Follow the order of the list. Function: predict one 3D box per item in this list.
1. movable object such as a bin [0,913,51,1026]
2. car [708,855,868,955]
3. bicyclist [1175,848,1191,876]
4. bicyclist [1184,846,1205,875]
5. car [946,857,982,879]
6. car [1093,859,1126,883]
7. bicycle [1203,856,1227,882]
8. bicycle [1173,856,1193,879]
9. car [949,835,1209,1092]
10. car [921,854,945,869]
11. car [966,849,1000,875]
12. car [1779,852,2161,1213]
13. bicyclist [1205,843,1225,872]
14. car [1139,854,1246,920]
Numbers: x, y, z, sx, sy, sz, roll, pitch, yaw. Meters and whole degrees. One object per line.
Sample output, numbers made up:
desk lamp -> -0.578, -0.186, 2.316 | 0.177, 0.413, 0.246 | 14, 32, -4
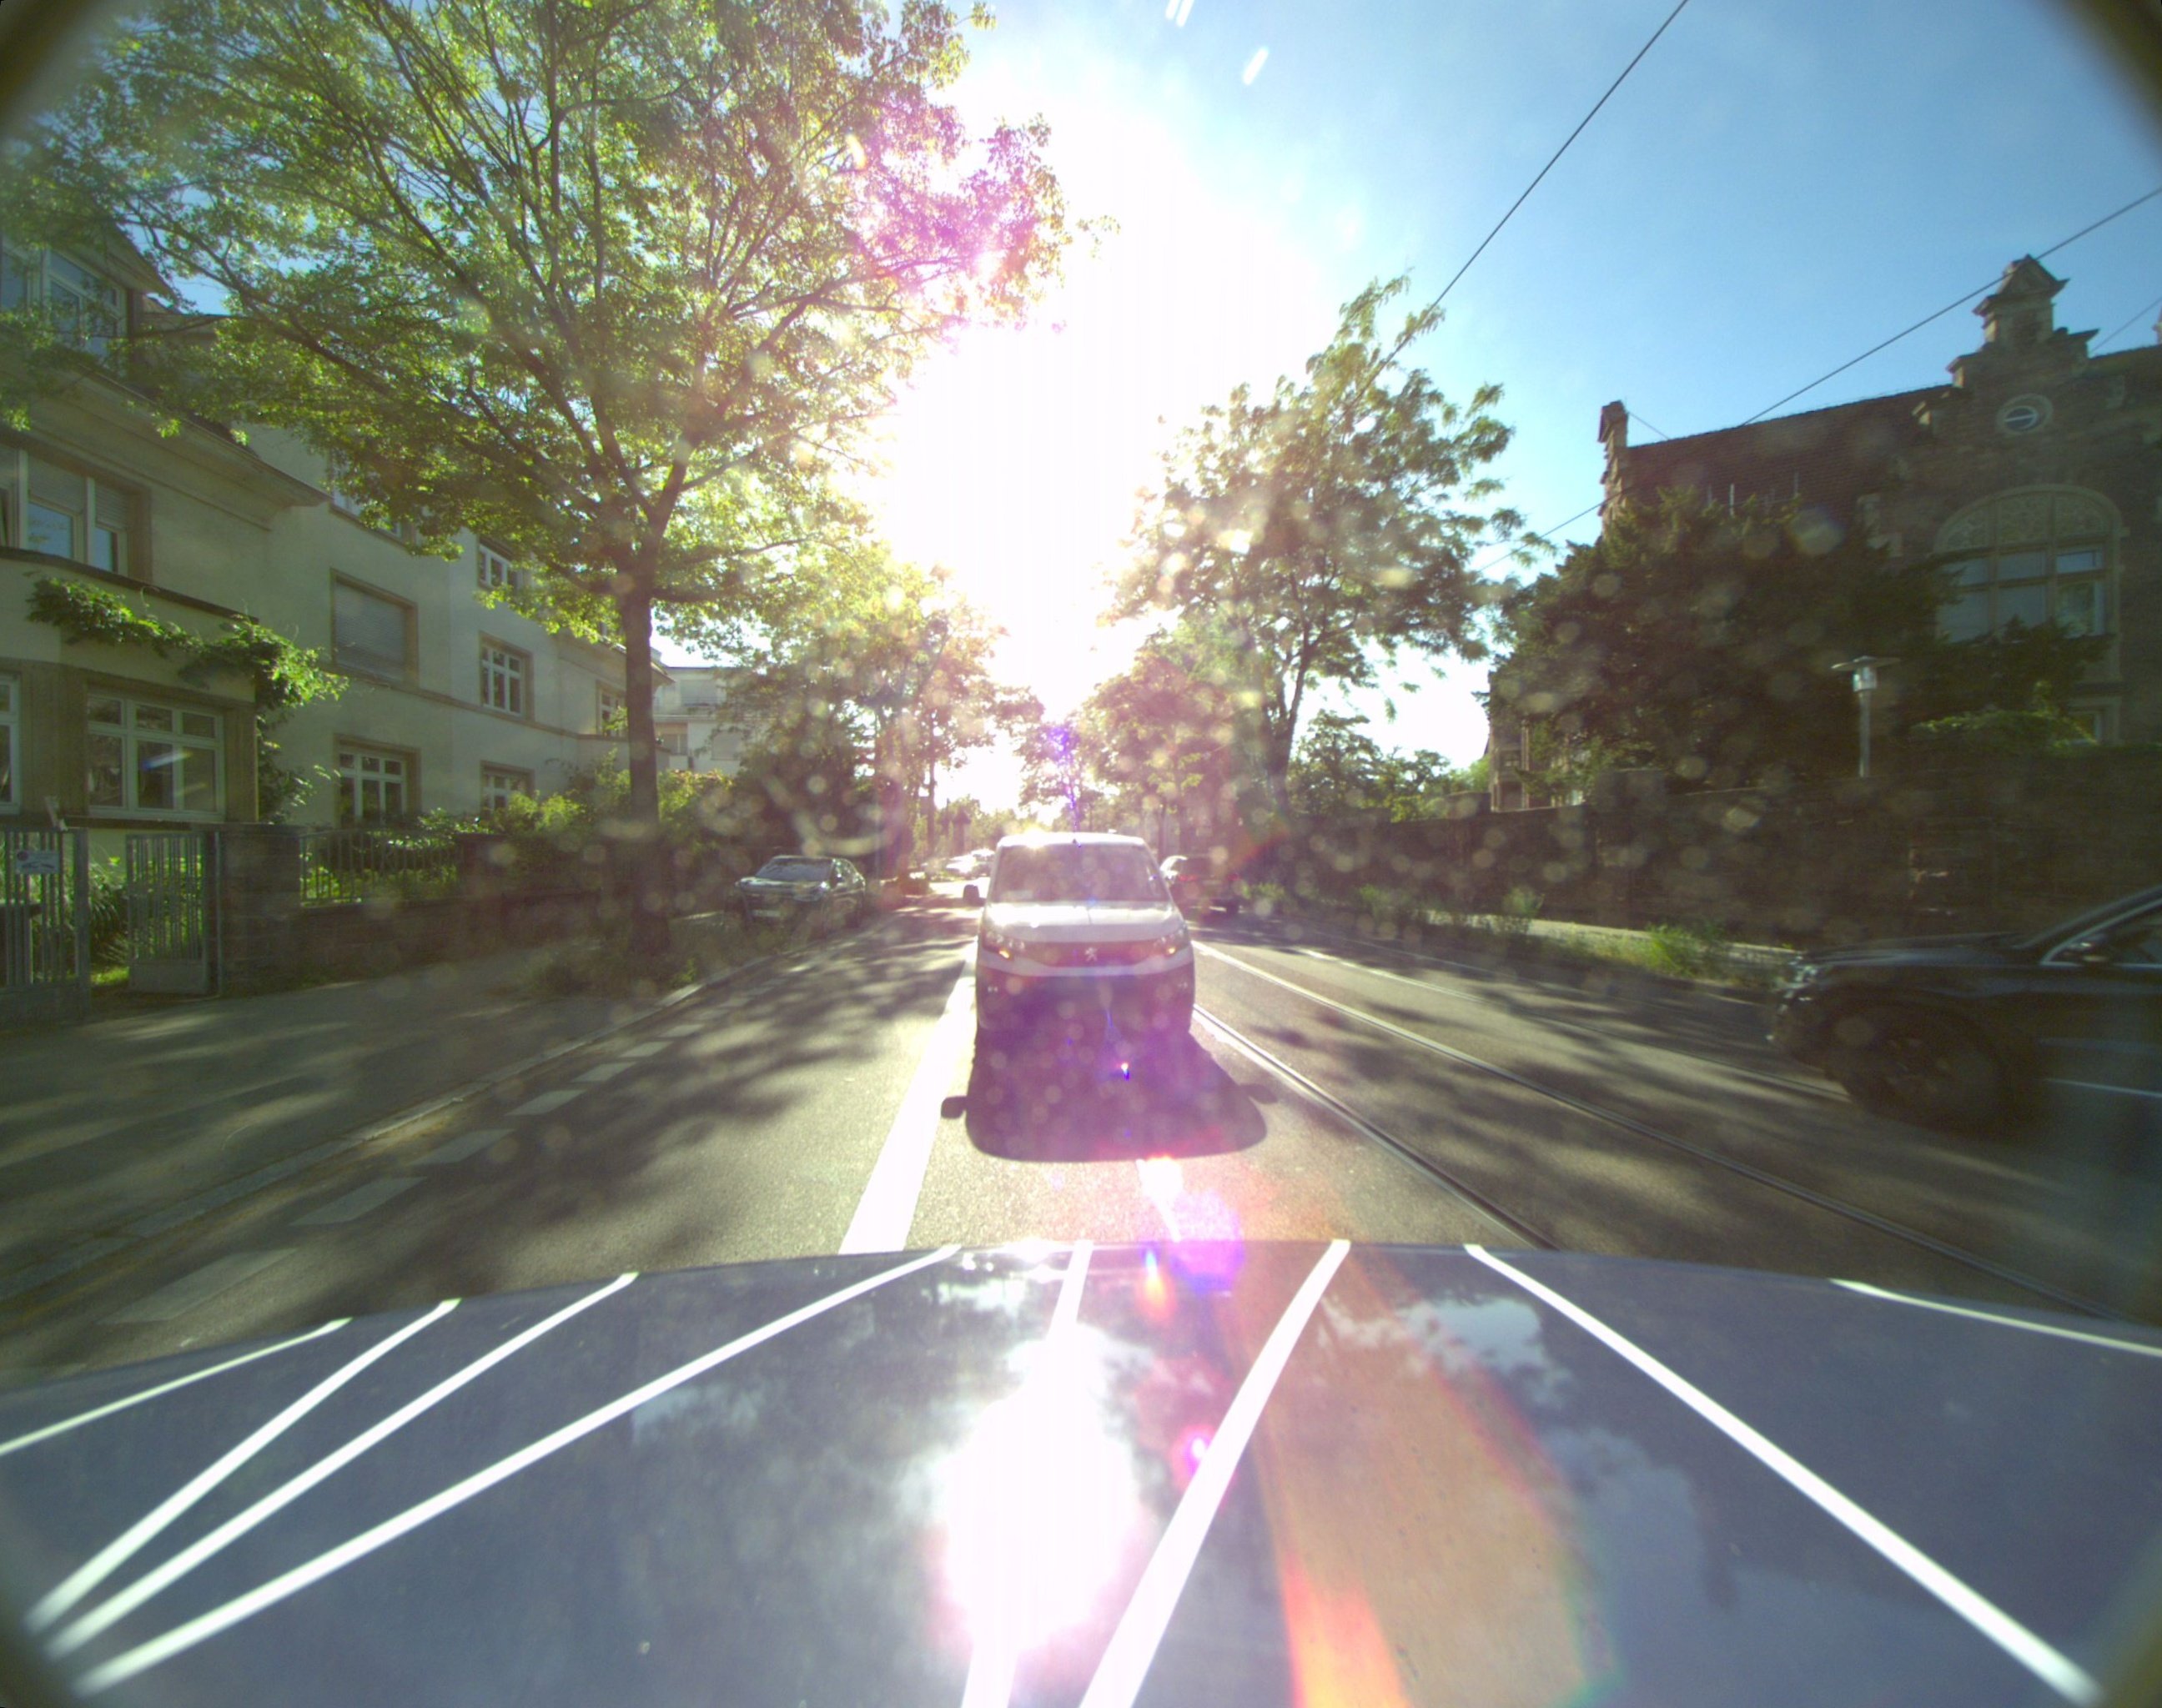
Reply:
movable object such as a bin -> -10.884, 1.139, 7.413 | 0.965, 1.049, 0.728 | -1, 1, 22
car -> -5.946, 0.942, 16.014 | 1.999, 1.733, 4.168 | -2, 1, -5
bicyclist -> 5.627, 0.448, 41.952 | 0.744, 1.526, 0.751 | -1, 1, -2
bicyclist -> 5.555, 0.293, 37.130 | 0.768, 1.383, 1.272 | -1, 1, -2
car -> -7.635, 0.886, 49.817 | 1.719, 1.332, 3.917 | -1, 1, 0
car -> 1.864, 1.103, 50.463 | 1.740, 1.414, 4.258 | -1, 0, -3
bicycle -> 6.573, 0.708, 37.346 | 0.733, 1.184, 2.087 | -1, 1, -2
bicycle -> 5.635, 0.733, 41.985 | 0.747, 1.184, 2.087 | -1, 1, -2
car -> -0.152, 0.755, 7.611 | 1.832, 1.788, 4.332 | -1, 1, -4
car -> -14.578, 0.708, 74.989 | 1.741, 1.434, 3.998 | -1, 1, -2
car -> -7.183, 0.550, 56.215 | 1.904, 1.819, 4.247 | -1, 1, 0
car -> 5.941, 0.806, 3.152 | 1.803, 1.628, 4.111 | 0, 0, -21
bicyclist -> 6.563, 0.154, 37.343 | 0.734, 1.383, 1.060 | -1, 1, -2
car -> 2.984, 0.906, 21.209 | 1.927, 1.606, 4.116 | -2, -2, -6
